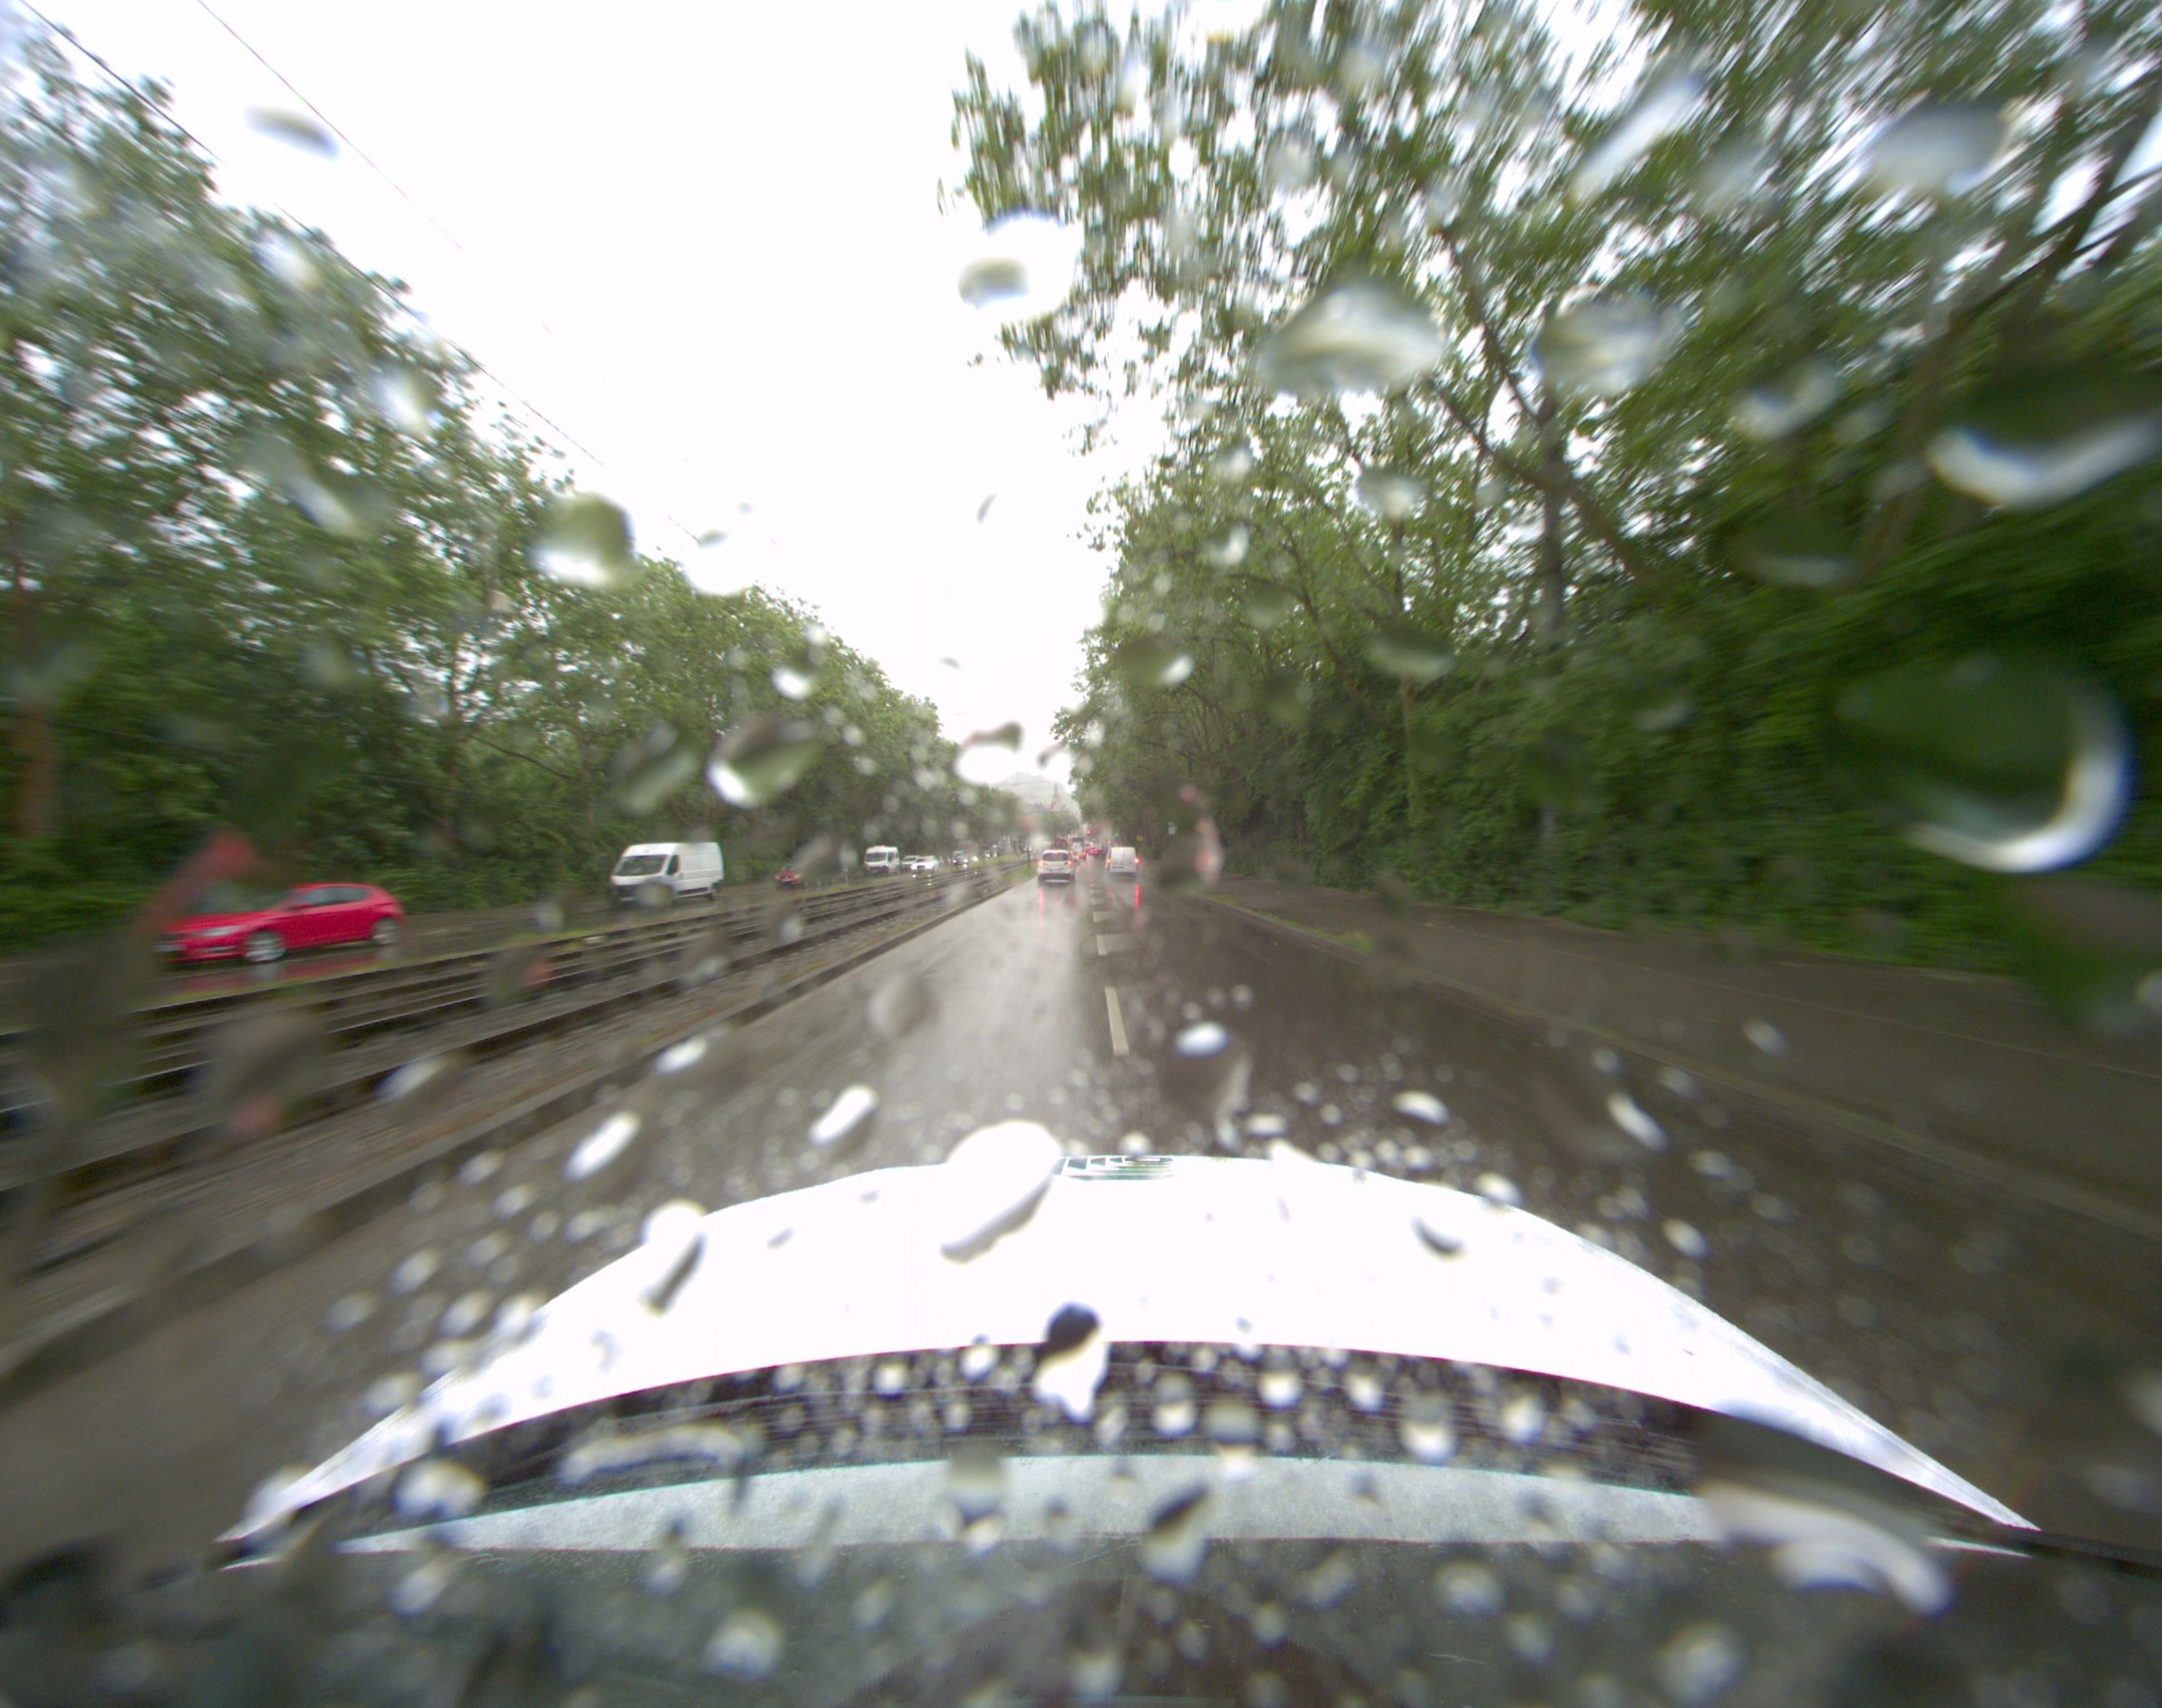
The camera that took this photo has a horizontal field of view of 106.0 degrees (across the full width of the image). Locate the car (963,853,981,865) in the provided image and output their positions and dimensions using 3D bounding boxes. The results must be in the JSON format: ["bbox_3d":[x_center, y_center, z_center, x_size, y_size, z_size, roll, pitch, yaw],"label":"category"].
[{"bbox_3d":[-15.188,0.709,113.985,1.973,1.567,4.765,-1,0,-2],"label":"car"}]

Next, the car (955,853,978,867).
[{"bbox_3d":[-13.687,0.676,97.398,2.027,1.552,4.564,-3,0,-1],"label":"car"}]

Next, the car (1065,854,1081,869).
[{"bbox_3d":[-0.847,0.800,87.255,1.720,1.479,3.804,0,-1,-1],"label":"car"}]

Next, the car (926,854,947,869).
[{"bbox_3d":[-18.920,0.957,106.474,2.027,1.751,4.690,-3,0,-3],"label":"car"}]

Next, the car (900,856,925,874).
[{"bbox_3d":[-17.466,1.161,84.412,1.746,1.728,4.527,-3,0,-3],"label":"car"}]

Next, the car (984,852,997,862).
[{"bbox_3d":[-17.142,0.624,154.908,2.027,1.751,4.255,-3,0,-3],"label":"car"}]

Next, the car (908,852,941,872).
[{"bbox_3d":[-13.562,0.680,70.673,2.028,1.552,4.992,-3,0,-2],"label":"car"}]

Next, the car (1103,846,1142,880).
[{"bbox_3d":[2.235,0.492,45.070,1.953,1.777,3.568,0,-1,-1],"label":"car"}]

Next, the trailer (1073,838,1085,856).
[{"bbox_3d":[-0.492,-1.540,179.151,2.583,3.899,7.631,0,1,-2],"label":"trailer"}]

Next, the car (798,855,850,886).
[{"bbox_3d":[-16.764,1.026,53.423,1.951,1.862,4.638,-2,0,-1],"label":"car"}]

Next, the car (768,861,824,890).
[{"bbox_3d":[-16.541,1.216,47.496,1.812,1.552,4.023,-3,0,-1],"label":"car"}]

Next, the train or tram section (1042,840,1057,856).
[{"bbox_3d":[-6.822,-1.301,177.667,2.953,3.285,8.356,-2,1,-1],"label":"train or tram section"}]

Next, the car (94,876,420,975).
[{"bbox_3d":[-16.061,1.296,16.317,2.027,1.552,4.384,-1,0,0],"label":"car"}]

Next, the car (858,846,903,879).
[{"bbox_3d":[-16.992,0.666,69.330,2.384,2.540,6.560,-3,0,-3],"label":"car"}]

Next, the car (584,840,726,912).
[{"bbox_3d":[-16.382,0.786,31.832,2.323,2.446,6.136,-2,0,-1],"label":"car"}]

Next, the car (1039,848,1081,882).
[{"bbox_3d":[-1.029,0.510,41.227,1.857,1.623,4.264,0,0,2],"label":"car"}]

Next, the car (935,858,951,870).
[{"bbox_3d":[-19.397,1.359,114.432,2.029,1.657,4.599,-1,0,-7],"label":"car"}]

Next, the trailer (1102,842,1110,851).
[{"bbox_3d":[6.519,-1.998,211.687,1.987,2.317,4.668,0,-1,1],"label":"trailer"}]

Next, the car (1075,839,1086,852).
[{"bbox_3d":[-0.138,-1.617,153.885,1.987,2.262,5.287,0,-1,0],"label":"car"}]
